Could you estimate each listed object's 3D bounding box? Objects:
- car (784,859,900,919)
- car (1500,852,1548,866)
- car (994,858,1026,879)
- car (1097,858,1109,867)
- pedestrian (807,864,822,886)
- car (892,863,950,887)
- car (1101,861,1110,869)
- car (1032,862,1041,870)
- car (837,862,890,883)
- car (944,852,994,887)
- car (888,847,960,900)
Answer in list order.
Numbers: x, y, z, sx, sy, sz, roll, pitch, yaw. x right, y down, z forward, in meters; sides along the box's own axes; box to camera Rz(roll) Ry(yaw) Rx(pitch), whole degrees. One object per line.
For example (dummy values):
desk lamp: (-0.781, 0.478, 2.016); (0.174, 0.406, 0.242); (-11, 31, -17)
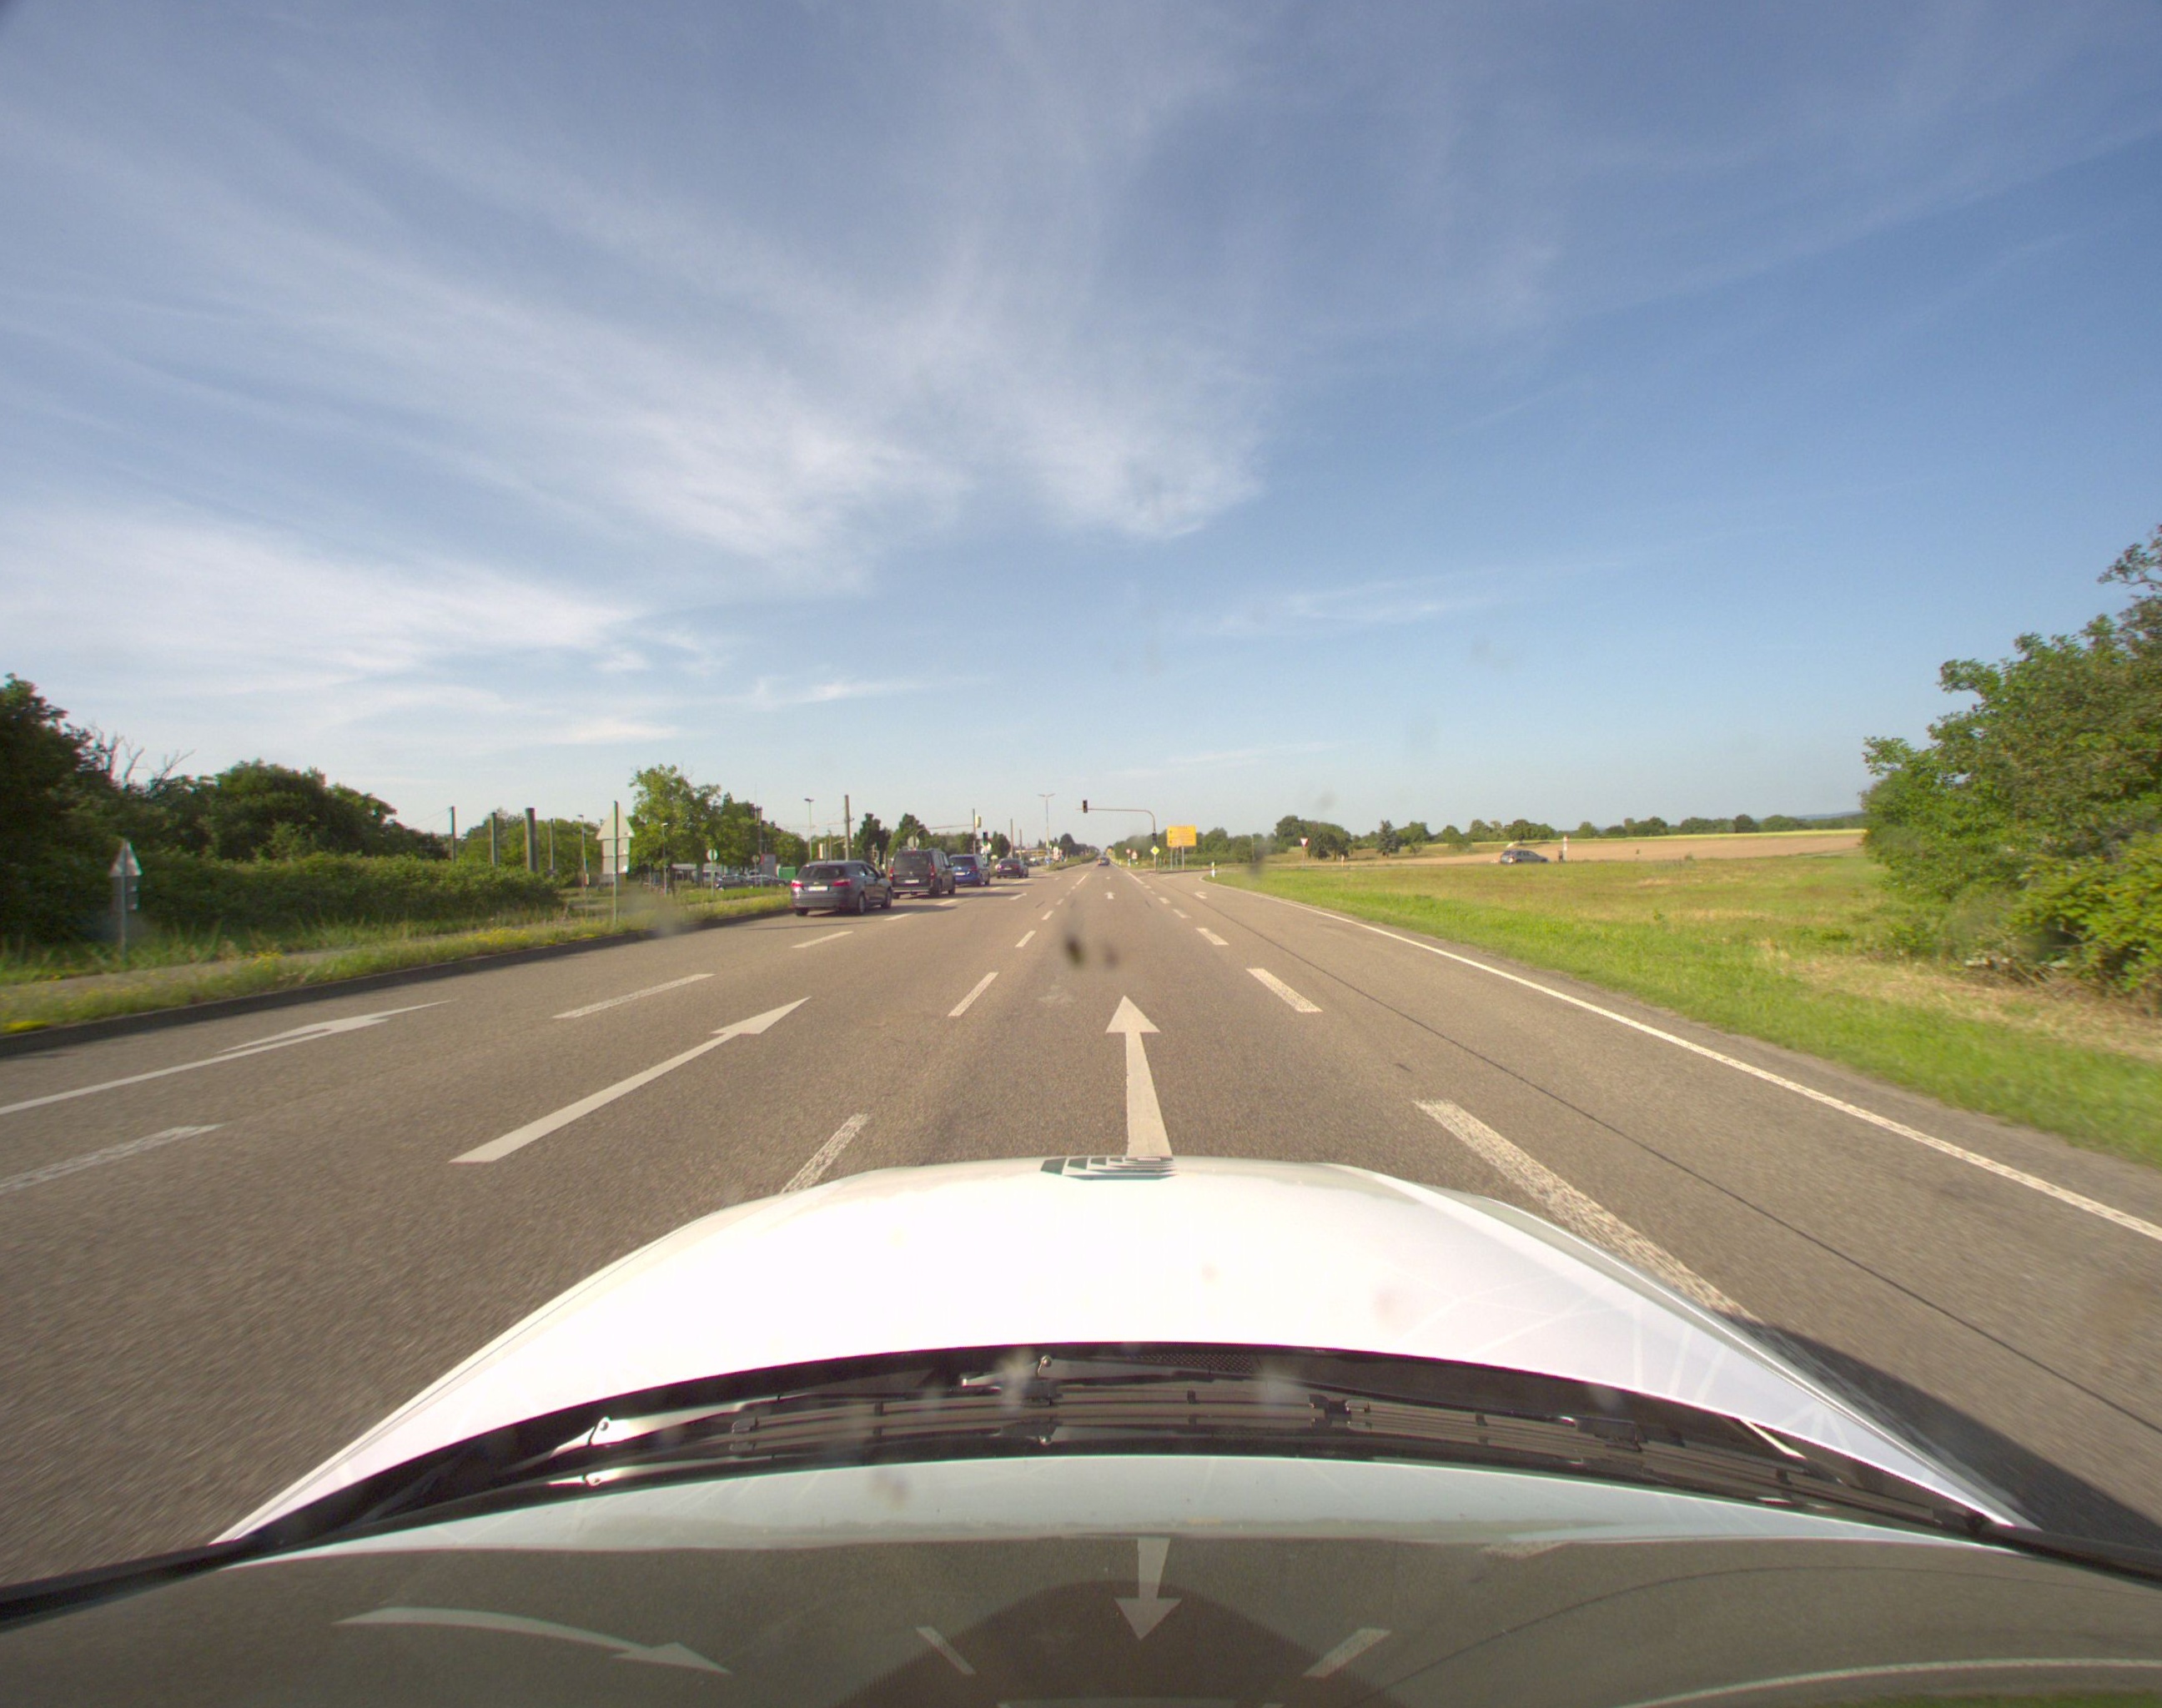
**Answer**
car: (-6.531, 0.897, 22.825); (1.725, 1.456, 4.522); (-1, 0, 2)
car: (40.665, 0.452, 74.795); (3.624, 1.219, 1.560); (-1, 0, -7)
car: (-5.128, 1.023, 58.880); (1.763, 1.471, 4.017); (-1, 0, 2)
car: (3.855, 1.477, 143.150); (1.986, 1.552, 4.002); (-1, 0, 2)
pedestrian: (-21.302, 1.680, 65.092); (0.913, 1.706, 1.066); (0, -2, -4)
car: (-14.285, 1.875, 72.756); (4.813, 2.014, 1.996); (-1, -2, -5)
car: (5.272, 2.398, 174.547); (1.986, 1.552, 4.002); (-1, 0, 2)
car: (-10.604, 2.832, 195.032); (1.681, 1.662, 3.760); (-1, 0, 2)
car: (-17.962, 1.505, 67.284); (3.951, 1.662, 1.897); (-1, -2, 24)
car: (-5.812, 0.778, 42.640); (1.763, 1.679, 4.522); (-1, 0, 2)
car: (-5.972, 0.698, 31.505); (1.725, 1.855, 4.522); (-1, 0, 2)
